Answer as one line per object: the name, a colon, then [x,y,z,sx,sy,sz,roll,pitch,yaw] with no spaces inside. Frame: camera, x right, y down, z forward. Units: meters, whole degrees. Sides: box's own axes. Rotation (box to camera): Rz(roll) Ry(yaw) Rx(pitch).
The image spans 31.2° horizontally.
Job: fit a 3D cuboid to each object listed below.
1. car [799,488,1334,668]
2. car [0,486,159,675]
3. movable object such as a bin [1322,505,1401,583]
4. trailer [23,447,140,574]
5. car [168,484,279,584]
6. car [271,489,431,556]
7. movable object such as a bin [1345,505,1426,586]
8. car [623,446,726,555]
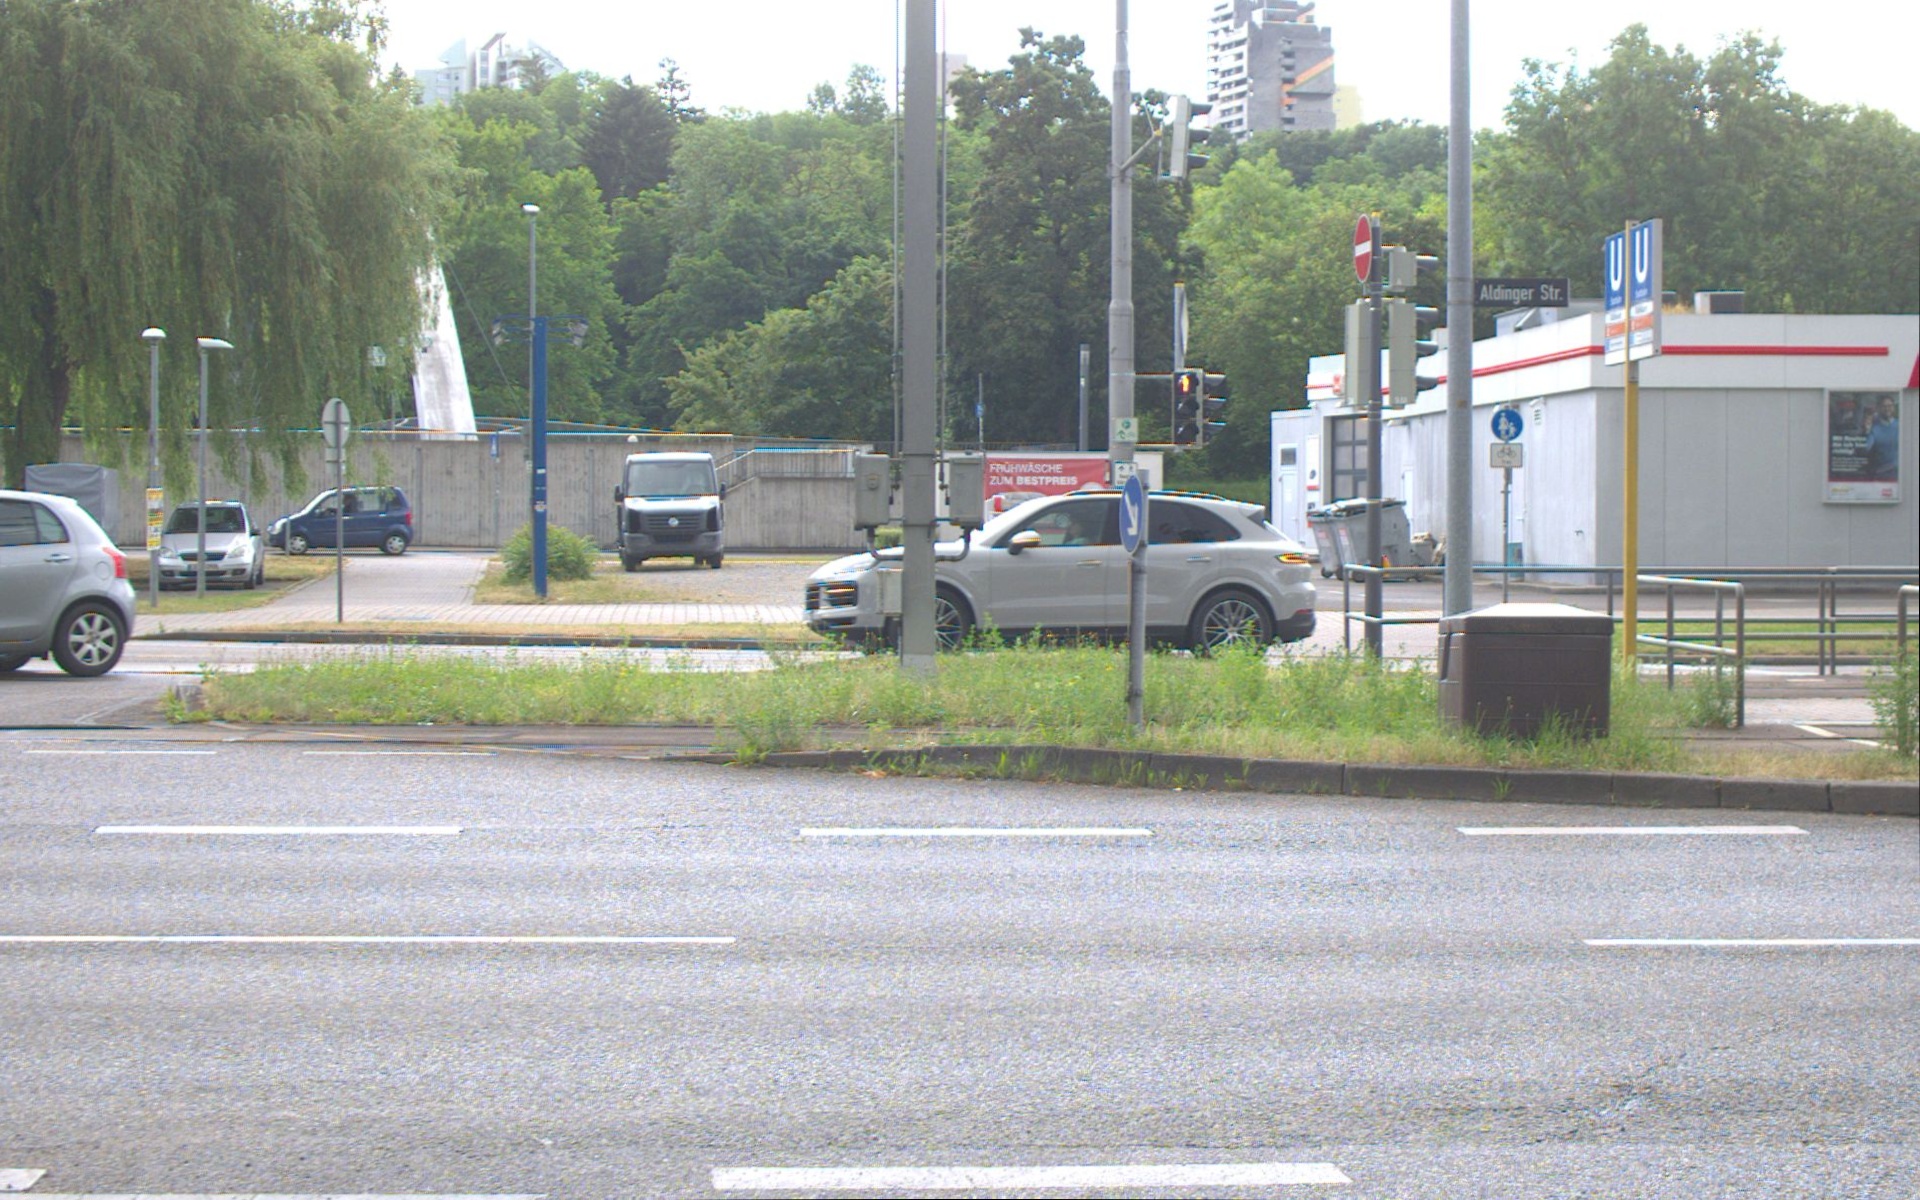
car: [0.989,-0.214,32.820,4.838,1.637,1.677,0,1,-11]
car: [-8.443,-0.171,27.128,3.778,1.482,1.676,0,2,-41]
movable object such as a bin: [7.759,-1.078,66.417,1.368,1.479,1.105,1,0,0]
trailer: [-16.401,-1.636,64.326,1.555,2.250,4.393,1,0,-7]
car: [-13.570,-1.247,63.500,1.749,1.737,3.859,1,2,-8]
car: [-14.850,-1.870,83.797,3.628,1.549,1.728,1,0,-17]
movable object such as a bin: [7.979,-1.009,64.503,1.368,1.489,1.105,1,0,0]
car: [-5.743,-1.952,68.820,1.840,2.045,4.383,1,0,-7]
